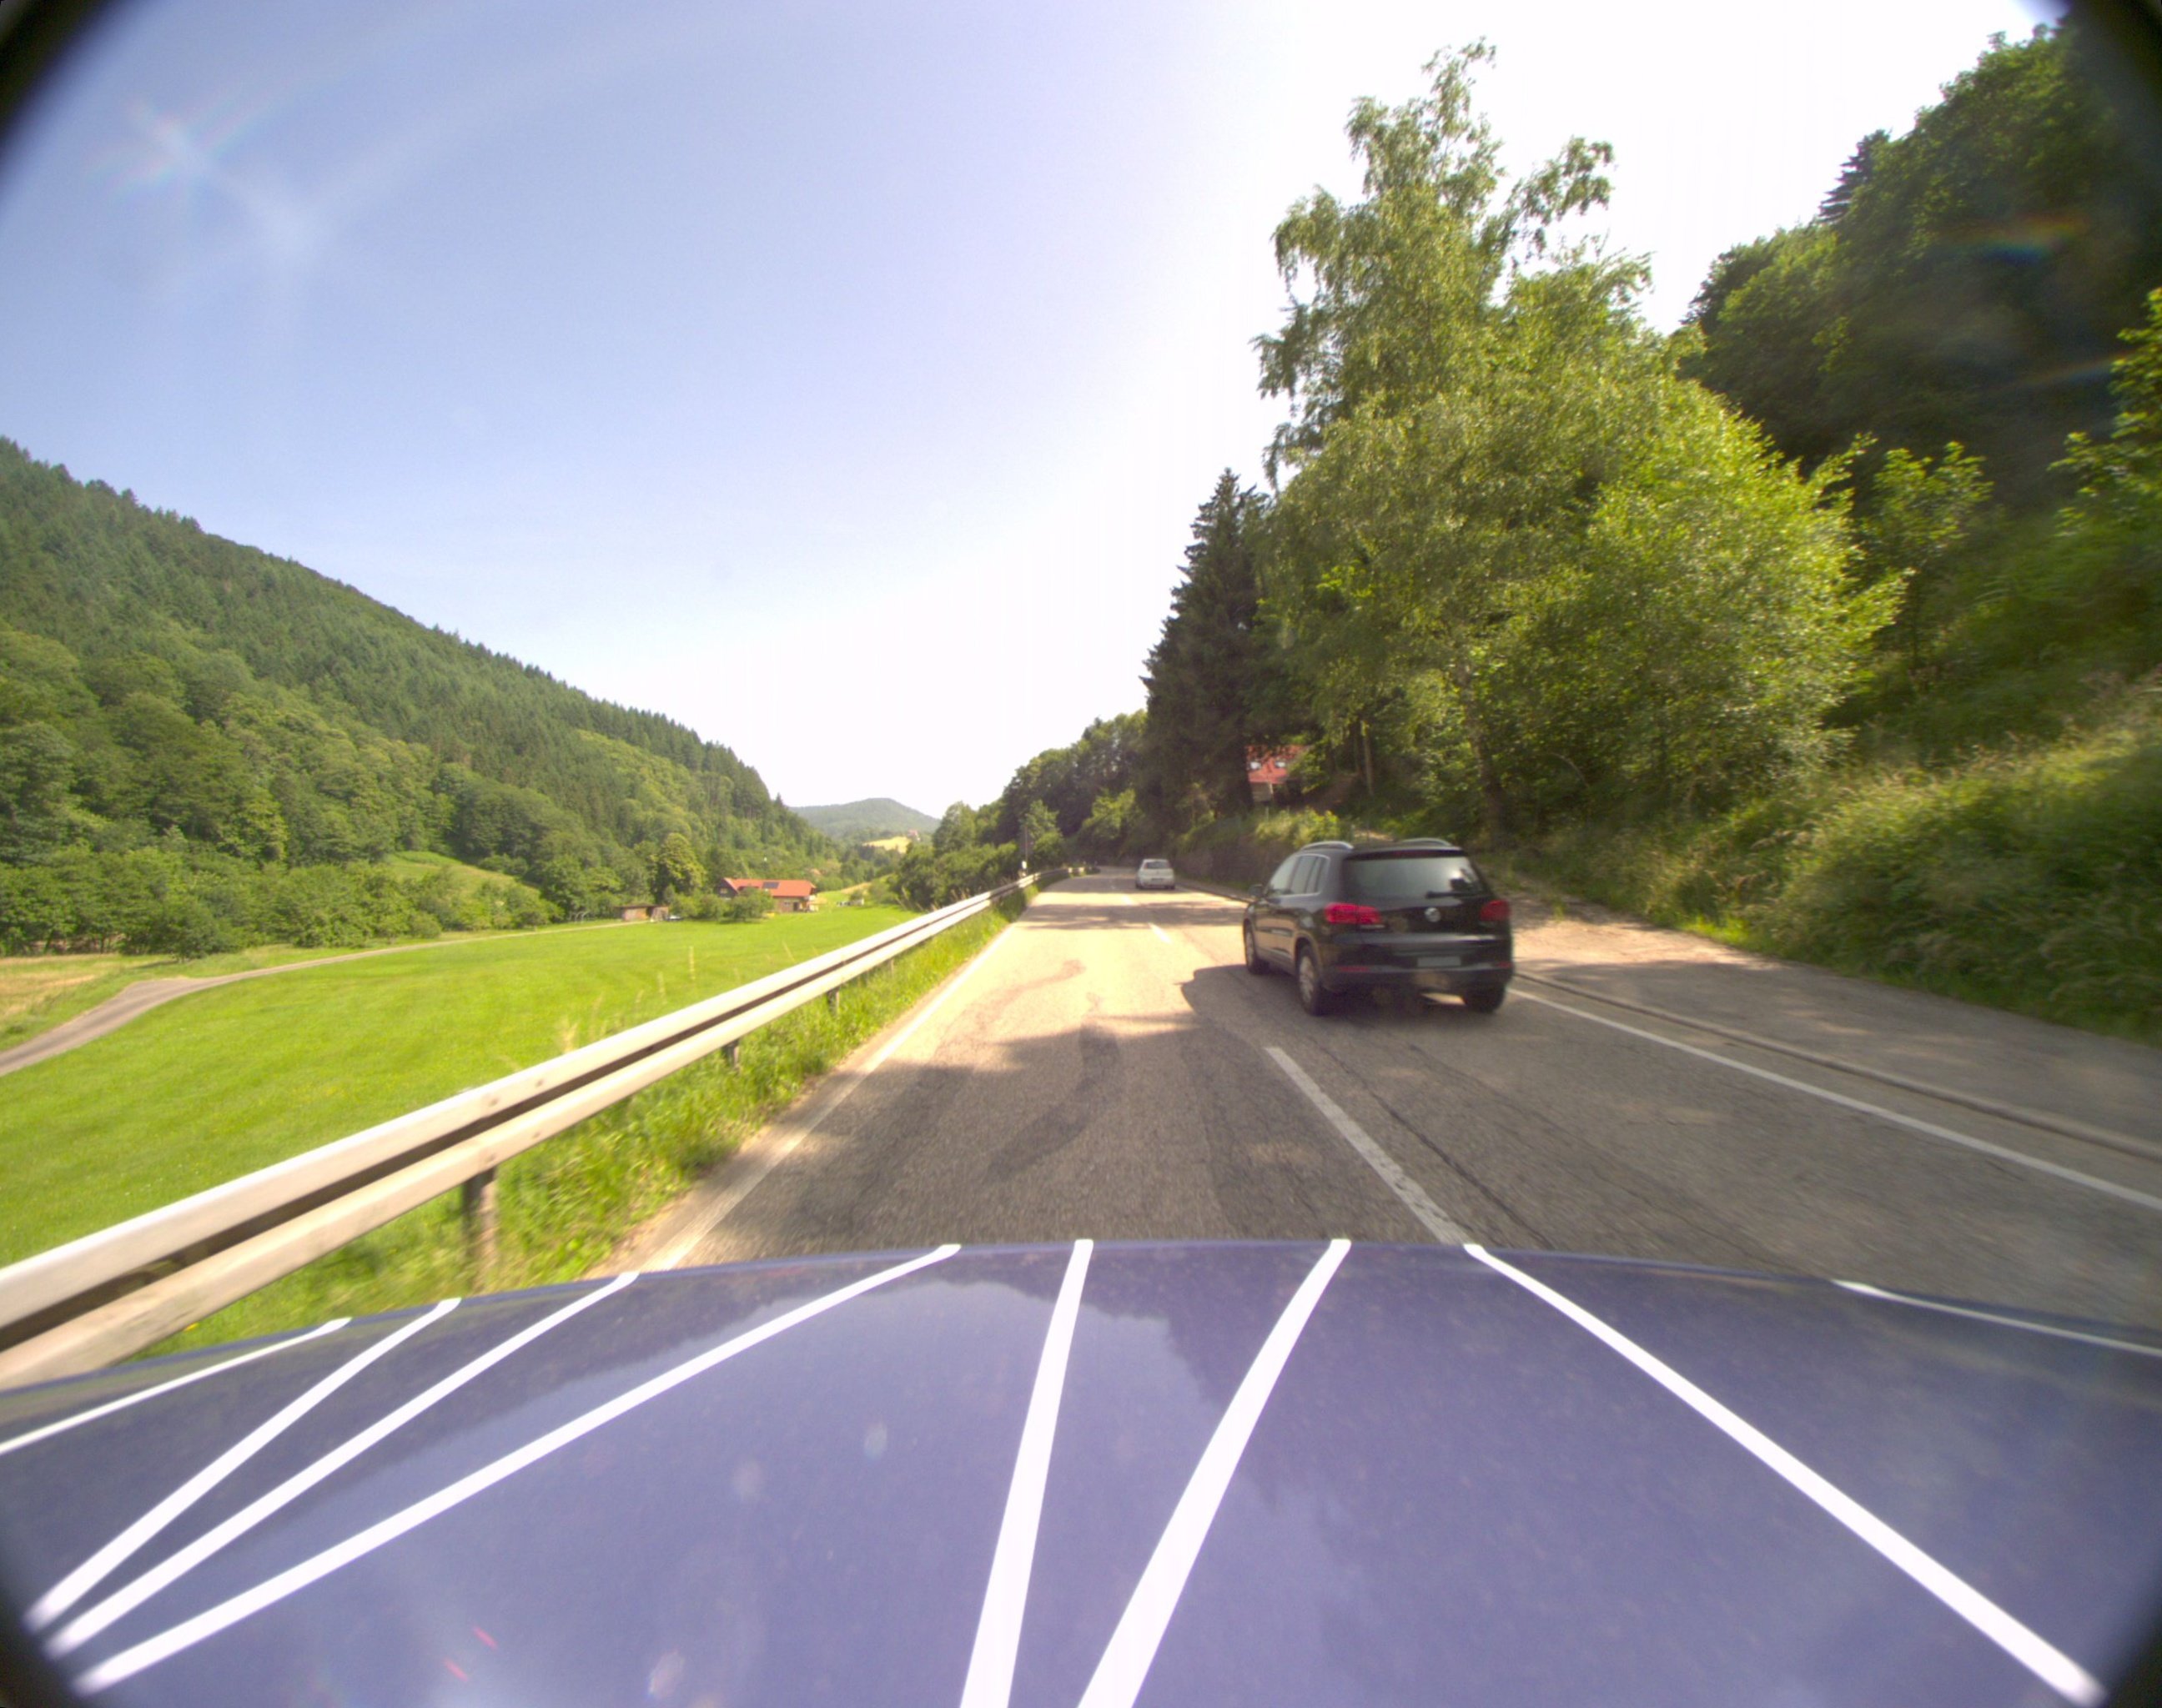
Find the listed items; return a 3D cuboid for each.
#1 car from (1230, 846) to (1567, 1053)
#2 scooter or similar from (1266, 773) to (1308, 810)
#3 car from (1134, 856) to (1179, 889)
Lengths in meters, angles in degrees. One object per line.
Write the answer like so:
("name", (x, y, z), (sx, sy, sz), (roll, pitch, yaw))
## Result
("car", (2.970, 0.786, 8.239), (1.894, 1.635, 4.258), (-1, 0, 1))
("scooter or similar", (14.044, -4.217, 51.985), (1.982, 2.015, 4.407), (-4, 0, 6))
("car", (3.615, 0.856, 37.020), (1.782, 1.429, 3.999), (0, 1, 0))
